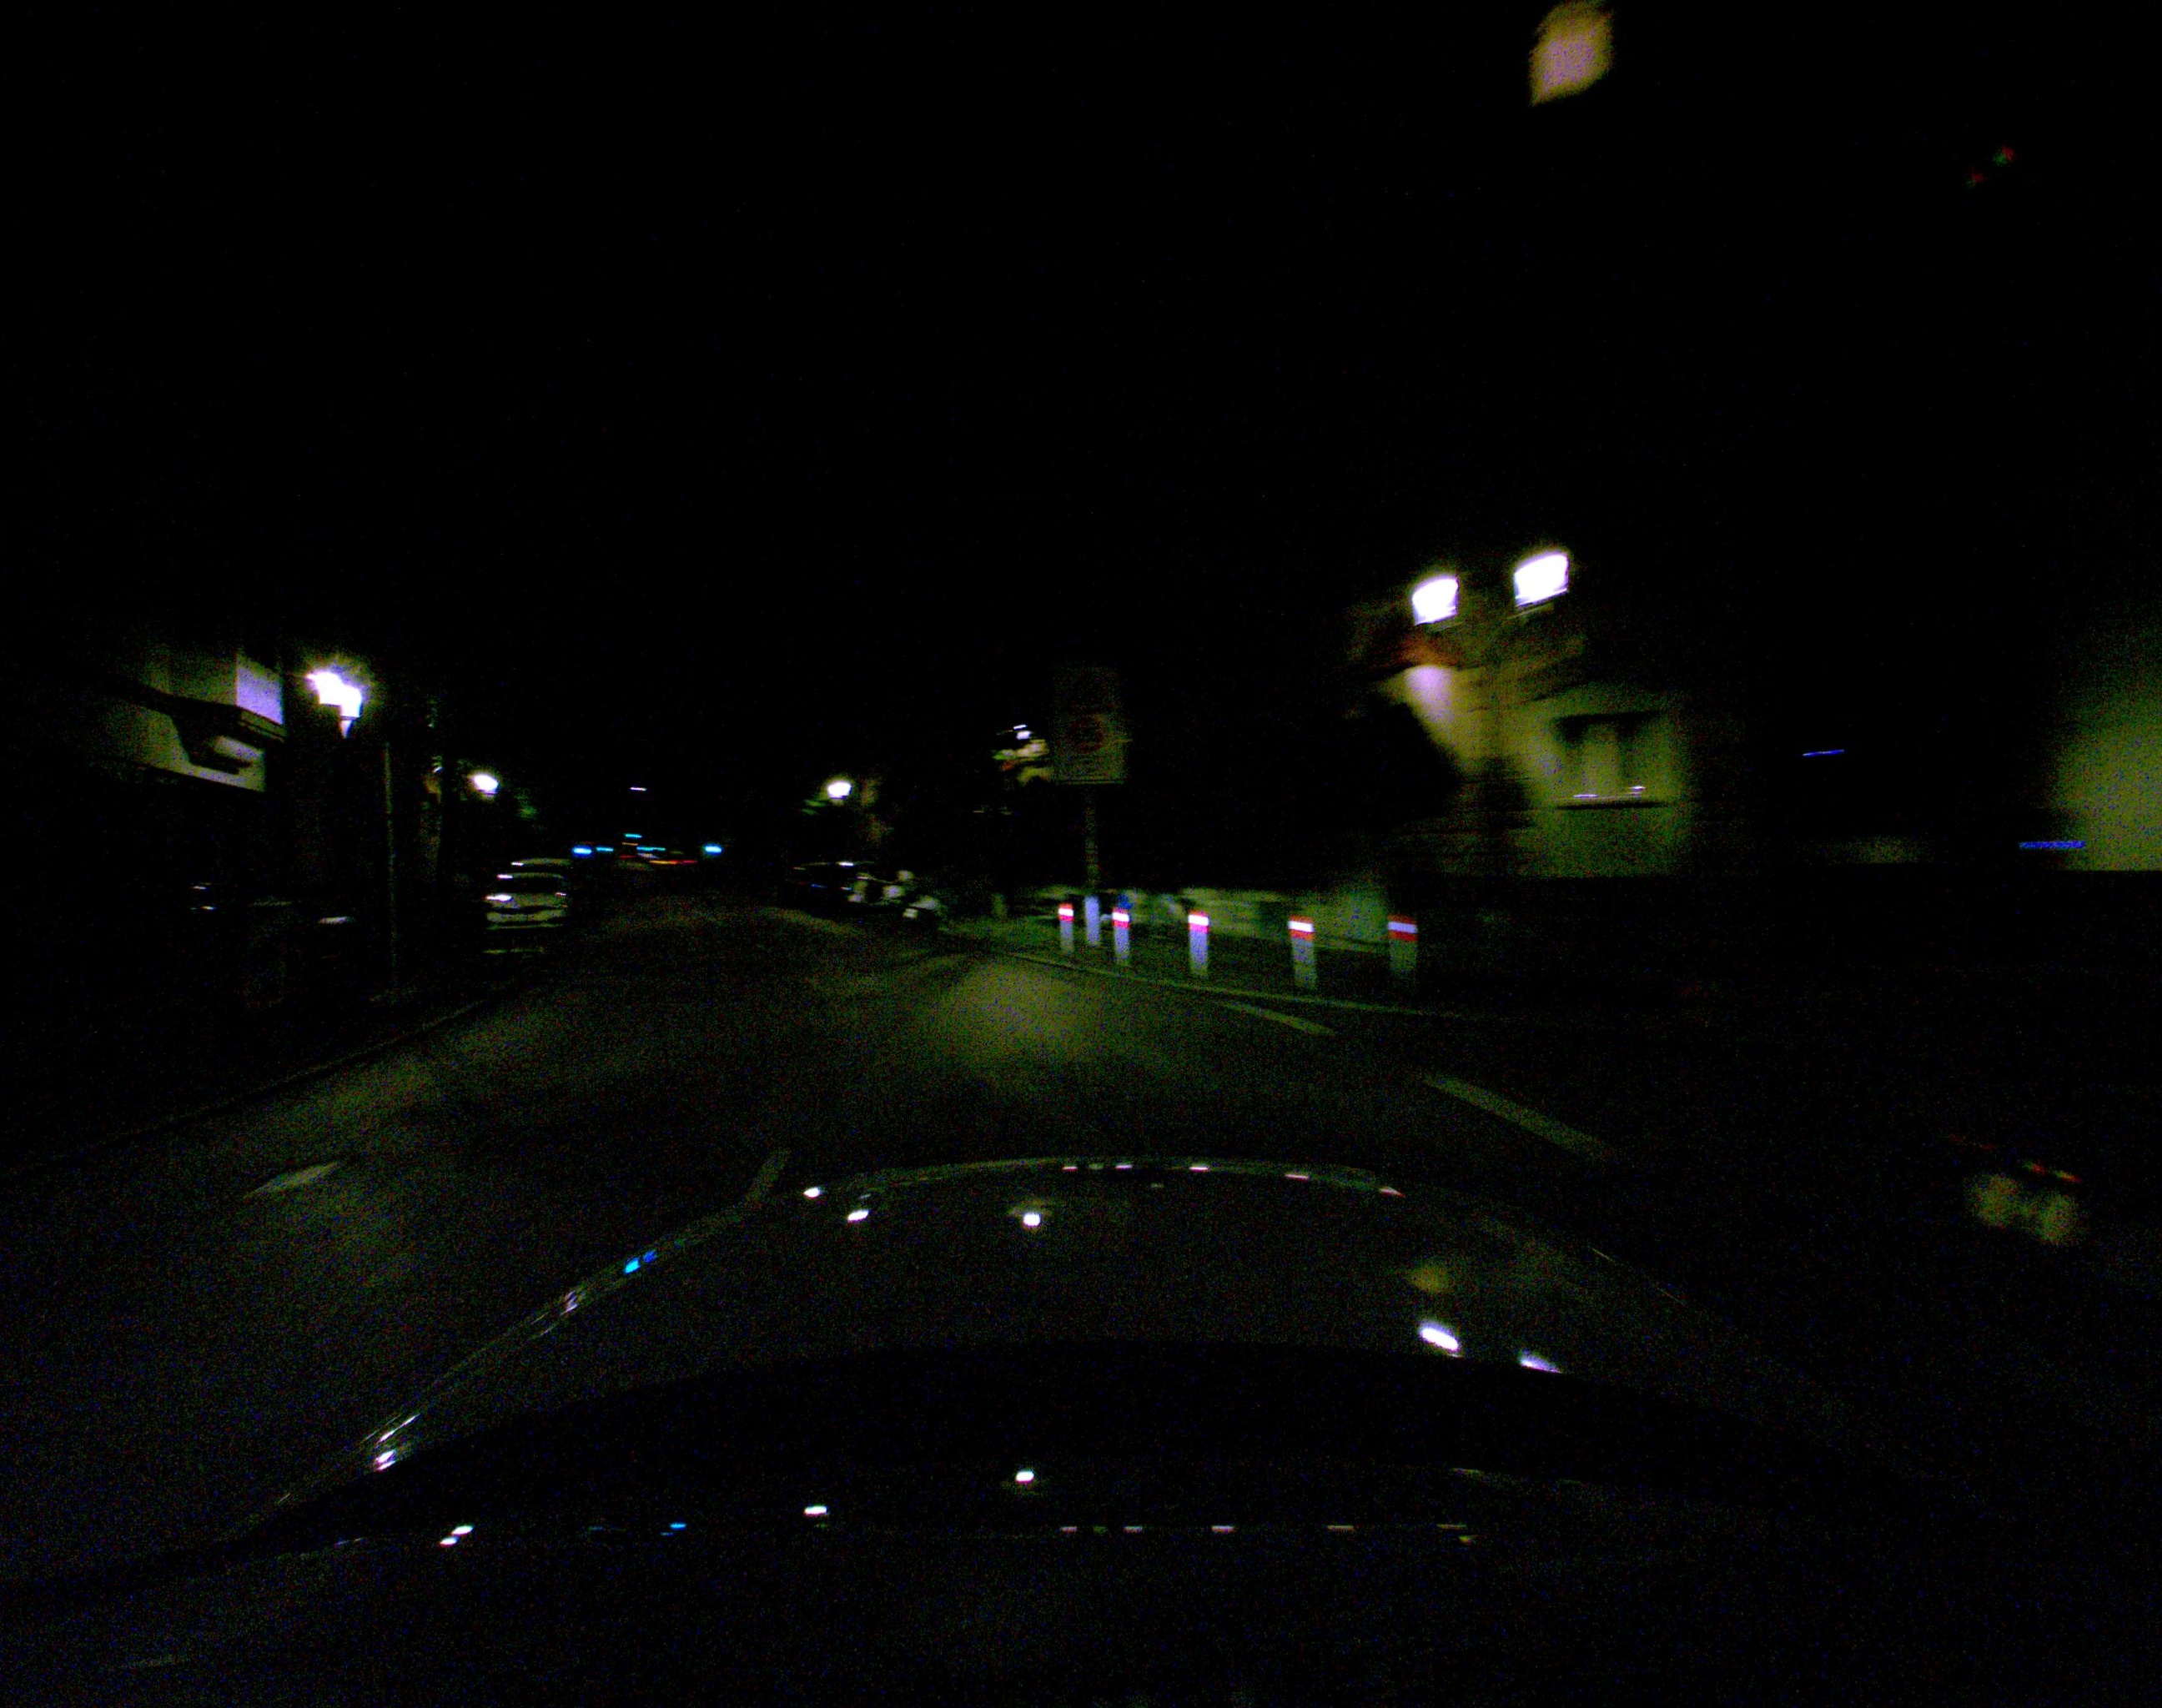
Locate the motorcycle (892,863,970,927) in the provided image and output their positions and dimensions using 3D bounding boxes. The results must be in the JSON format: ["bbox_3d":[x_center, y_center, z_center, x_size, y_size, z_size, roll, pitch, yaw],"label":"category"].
[{"bbox_3d":[-3.456,0.920,18.958,0.753,1.353,1.956,-2,0,25],"label":"motorcycle"}]

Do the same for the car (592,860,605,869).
[{"bbox_3d":[-79.750,1.726,134.623,1.681,1.443,4.164,-1,1,-30],"label":"car"}]

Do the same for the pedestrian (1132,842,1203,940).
[{"bbox_3d":[1.500,0.617,14.208,0.811,1.631,0.957,-1,-1,-28],"label":"pedestrian"}]

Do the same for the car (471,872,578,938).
[{"bbox_3d":[-14.313,1.224,21.191,1.850,1.450,4.835,0,-1,-29],"label":"car"}]

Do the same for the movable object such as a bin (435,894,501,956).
[{"bbox_3d":[-10.864,1.240,14.446,0.618,1.049,0.693,-2,-2,20],"label":"movable object such as a bin"}]

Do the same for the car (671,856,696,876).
[{"bbox_3d":[-39.565,1.158,80.997,1.747,1.855,4.273,-2,1,-32],"label":"car"}]

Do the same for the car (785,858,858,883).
[{"bbox_3d":[-16.381,1.047,51.481,4.041,1.422,1.833,-2,-1,-32],"label":"car"}]

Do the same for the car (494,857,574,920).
[{"bbox_3d":[-17.892,1.063,26.820,1.895,1.843,4.767,-1,0,-31],"label":"car"}]

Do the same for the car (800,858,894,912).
[{"bbox_3d":[-7.519,0.935,25.838,1.744,1.501,4.423,-2,0,-31],"label":"car"}]

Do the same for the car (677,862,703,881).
[{"bbox_3d":[-34.292,1.476,71.379,1.751,1.477,3.962,-4,2,-30],"label":"car"}]

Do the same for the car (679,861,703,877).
[{"bbox_3d":[-36.229,1.370,75.594,1.697,1.420,4.400,-2,1,-30],"label":"car"}]

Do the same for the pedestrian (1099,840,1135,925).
[{"bbox_3d":[0.736,0.581,16.841,0.479,1.709,0.565,-2,0,-29],"label":"pedestrian"}]

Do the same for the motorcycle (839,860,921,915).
[{"bbox_3d":[-5.798,0.935,23.561,2.070,1.406,0.914,-3,1,-40],"label":"motorcycle"}]

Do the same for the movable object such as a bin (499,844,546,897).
[{"bbox_3d":[-29.350,0.840,42.872,1.581,2.626,3.873,-2,0,-29],"label":"movable object such as a bin"}]

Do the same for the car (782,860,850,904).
[{"bbox_3d":[-9.932,1.000,30.366,1.746,1.454,3.964,-2,0,-28],"label":"car"}]

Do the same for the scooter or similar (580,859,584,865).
[{"bbox_3d":[-95.085,1.500,155.305,0.531,1.165,2.483,-3,0,-30],"label":"scooter or similar"}]

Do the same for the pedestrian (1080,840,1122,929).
[{"bbox_3d":[0.393,0.589,16.211,0.510,1.709,0.698,-2,0,-29],"label":"pedestrian"}]
